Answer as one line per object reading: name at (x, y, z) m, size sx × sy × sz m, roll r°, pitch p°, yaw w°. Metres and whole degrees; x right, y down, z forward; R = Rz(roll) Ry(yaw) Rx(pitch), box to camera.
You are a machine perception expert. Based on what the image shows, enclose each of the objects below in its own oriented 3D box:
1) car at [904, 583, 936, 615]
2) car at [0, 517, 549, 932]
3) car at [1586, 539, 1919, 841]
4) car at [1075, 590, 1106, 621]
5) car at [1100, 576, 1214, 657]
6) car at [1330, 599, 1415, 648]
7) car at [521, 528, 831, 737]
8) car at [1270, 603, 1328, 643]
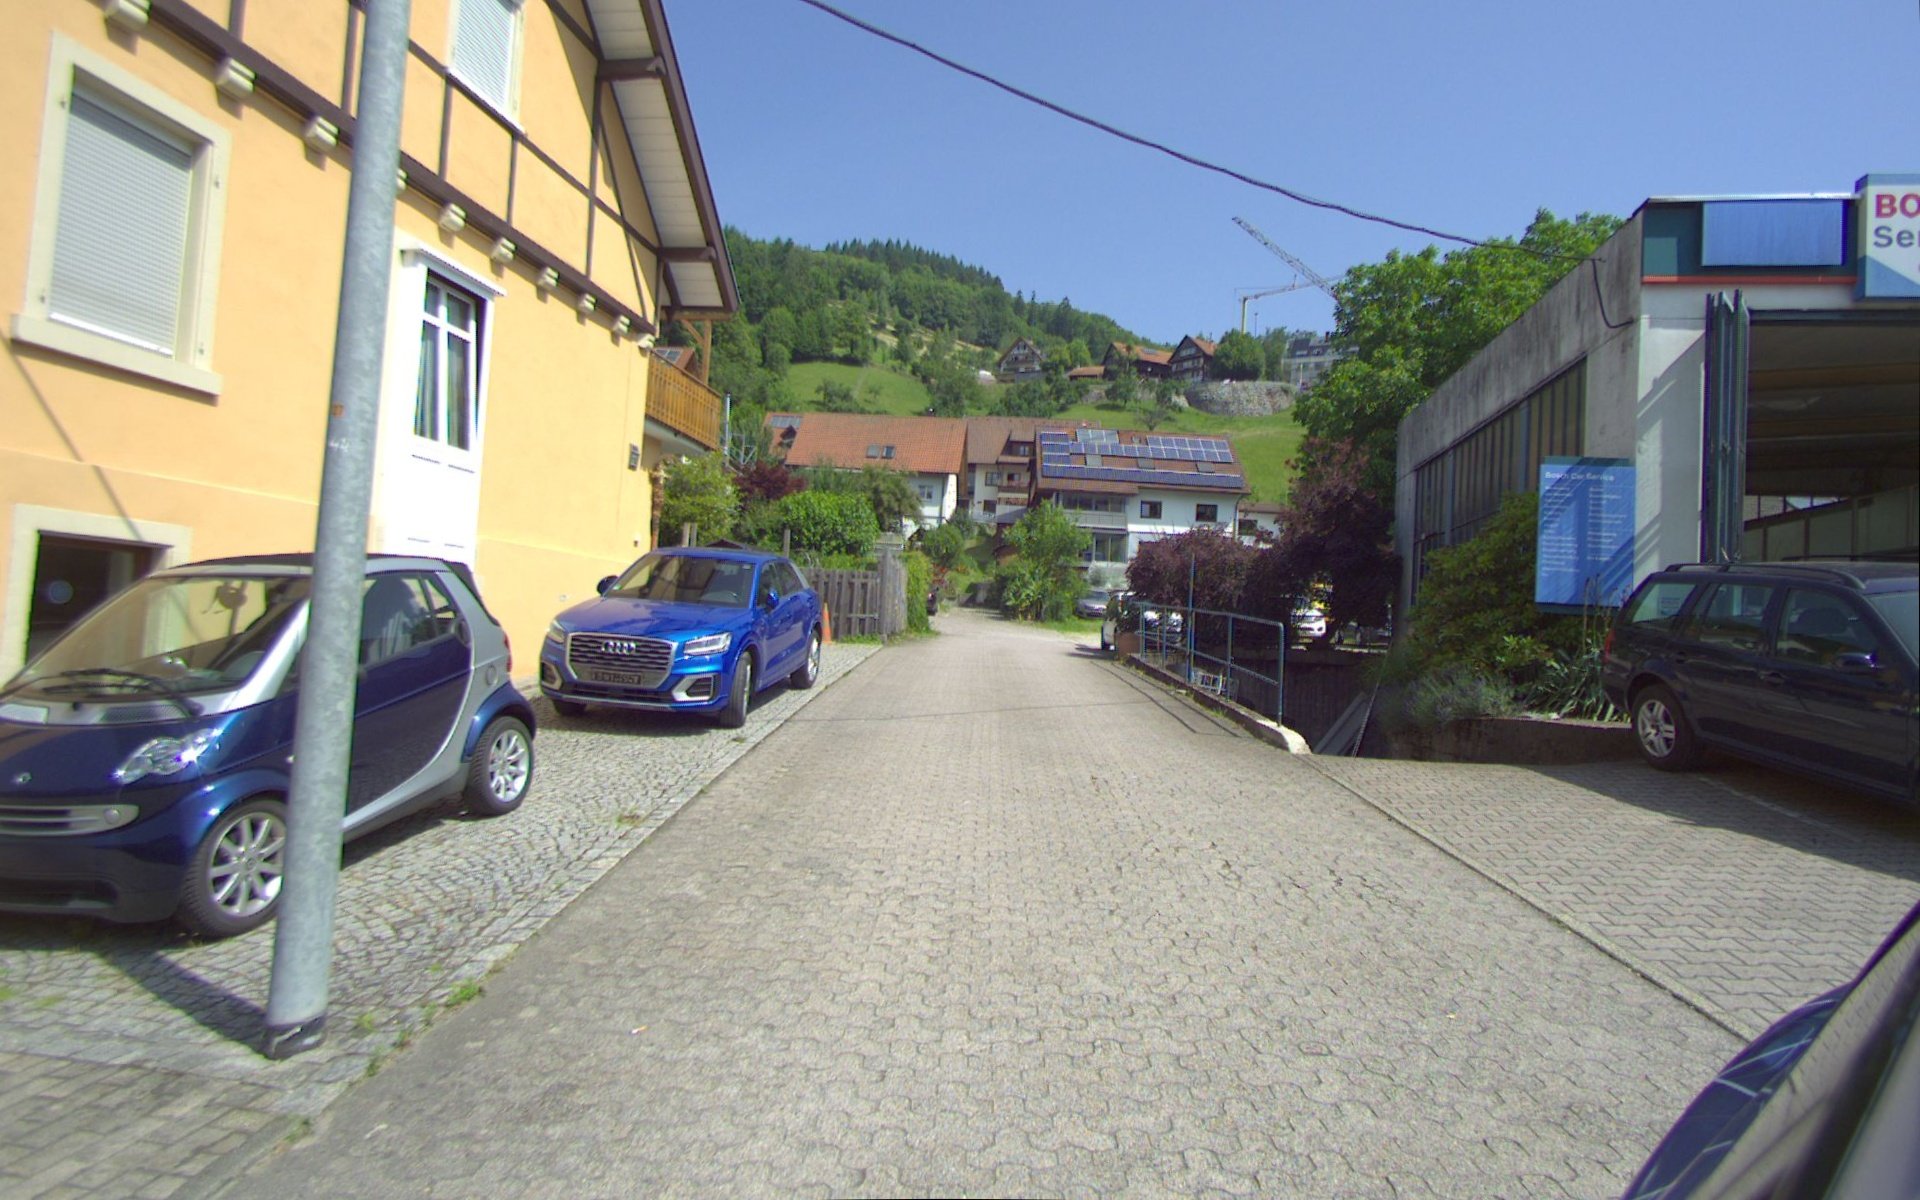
car at (-1.570, -0.058, 40.591) m, size 1.092 × 1.077 × 2.865 m, roll 4°, pitch 2°, yaw 0°
car at (-3.456, 0.411, 5.180) m, size 1.401 × 1.555 × 2.658 m, roll 0°, pitch 2°, yaw 6°
car at (5.884, 0.437, 6.012) m, size 1.767 × 1.564 × 4.329 m, roll -1°, pitch 1°, yaw 3°
car at (6.222, 0.233, 48.535) m, size 1.321 × 1.387 × 3.209 m, roll 0°, pitch 1°, yaw 5°
car at (4.361, 0.293, 23.127) m, size 1.964 × 1.665 × 4.873 m, roll 0°, pitch 1°, yaw 4°
car at (14.603, 0.785, 36.045) m, size 1.650 × 1.574 × 3.907 m, roll 0°, pitch 1°, yaw 4°
car at (-2.564, 0.220, 10.156) m, size 1.704 × 1.645 × 3.930 m, roll 1°, pitch 1°, yaw 5°
car at (12.312, 0.799, 36.922) m, size 1.444 × 1.274 × 3.378 m, roll 3°, pitch 1°, yaw 10°
